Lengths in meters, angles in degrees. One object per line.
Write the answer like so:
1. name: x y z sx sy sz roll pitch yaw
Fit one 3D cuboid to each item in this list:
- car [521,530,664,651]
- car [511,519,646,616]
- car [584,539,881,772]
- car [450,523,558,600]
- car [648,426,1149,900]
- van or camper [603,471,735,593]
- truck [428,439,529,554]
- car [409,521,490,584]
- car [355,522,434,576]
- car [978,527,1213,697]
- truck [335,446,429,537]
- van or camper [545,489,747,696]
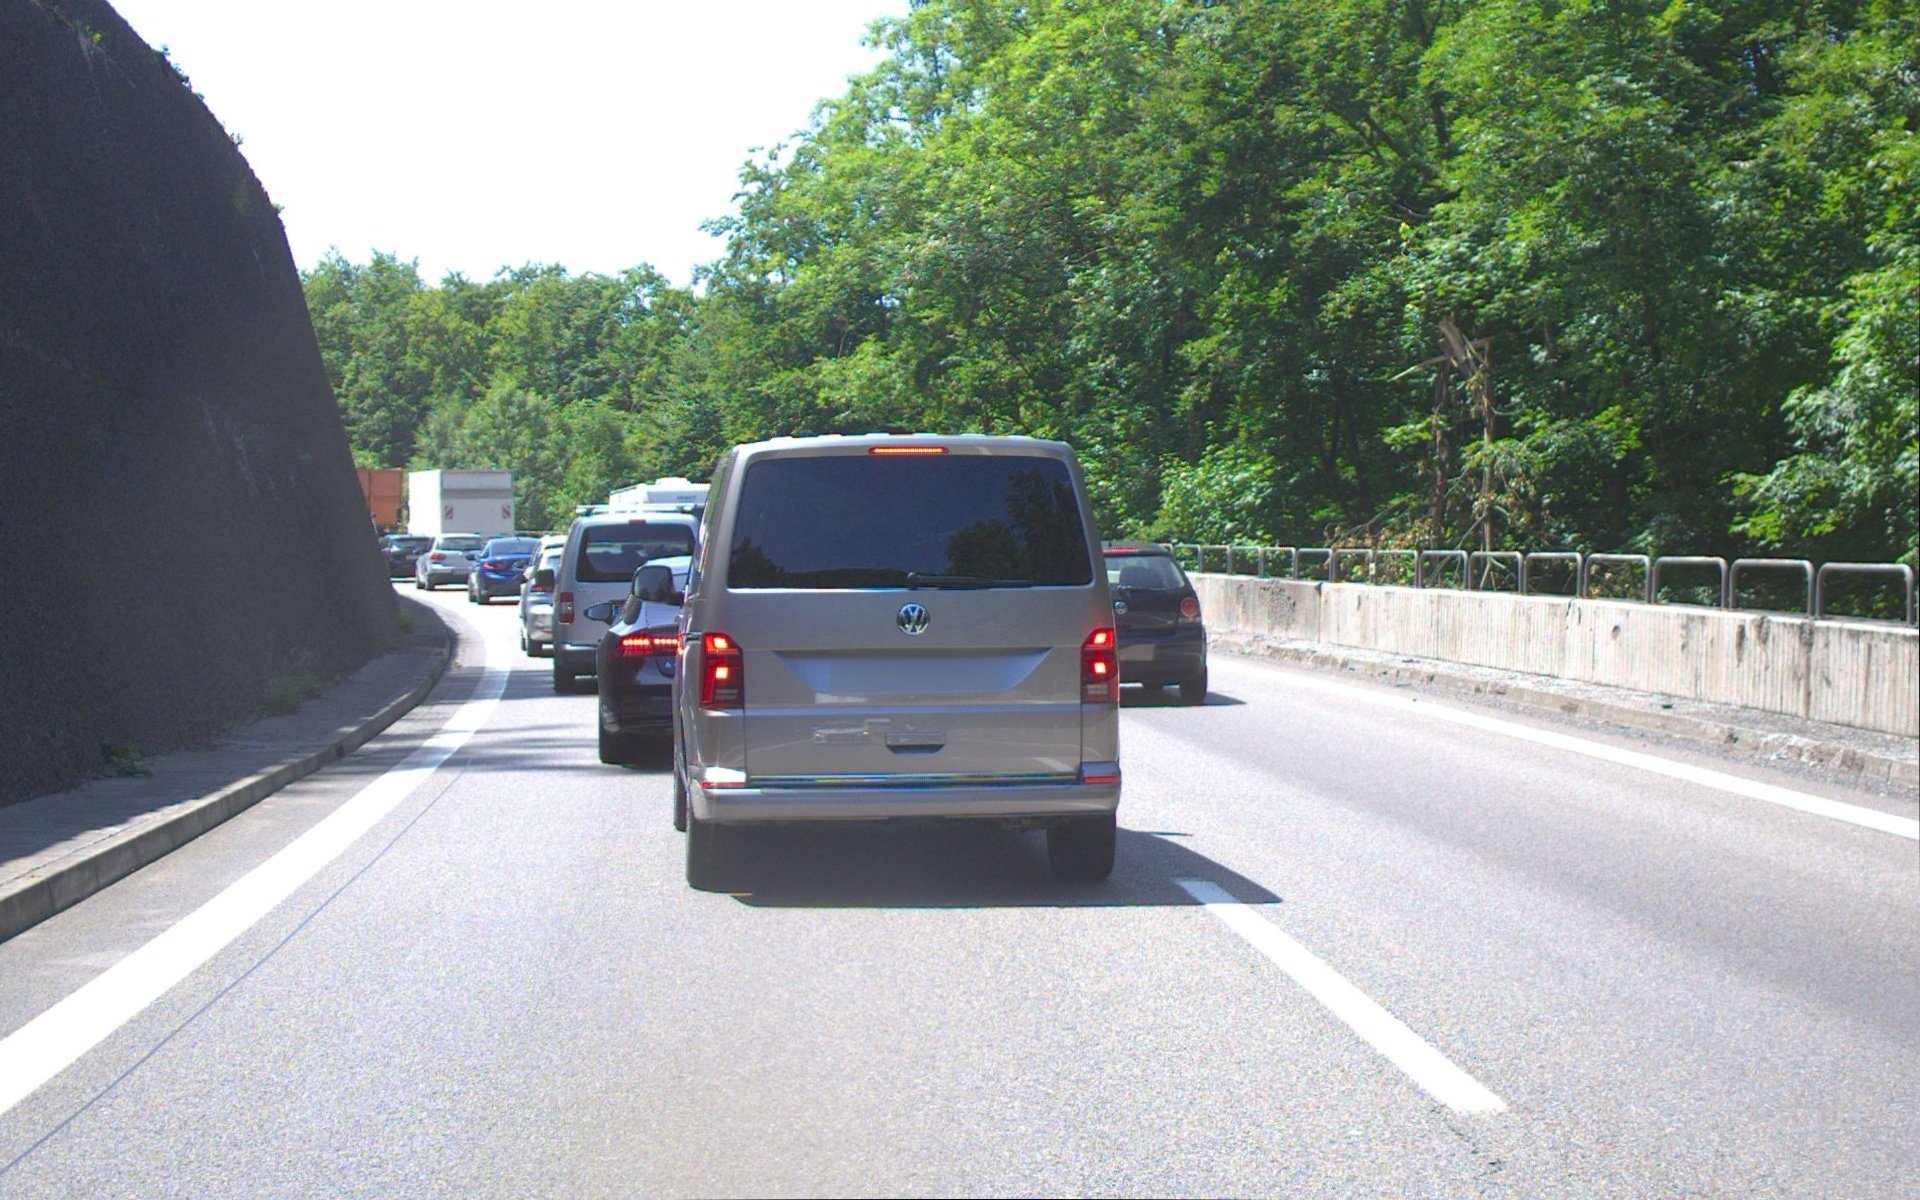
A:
1. car: -4.919 -0.163 46.444 1.771 1.467 4.001 2 1 -5
2. car: -6.717 -0.585 60.242 1.894 1.579 3.772 -2 1 -12
3. car: -1.577 0.327 24.596 1.904 1.484 4.380 1 1 -2
4. car: -10.017 -0.864 75.268 1.857 1.614 4.001 -1 1 -15
5. car: -0.456 0.210 16.411 1.940 1.924 4.695 0 1 -6
6. van or camper: -7.106 -1.678 83.303 2.603 2.845 6.337 0 2 -10
7. truck: -16.912 -3.622 120.386 2.924 3.674 7.727 4 1 -10
8. car: -13.313 -1.249 89.546 1.993 1.612 4.001 0 1 -10
9. car: -16.676 -1.509 101.221 1.750 1.565 3.772 0 1 -18
10. car: 1.185 0.065 31.748 1.684 1.453 4.001 1 1 -4
11. truck: -24.064 -4.496 142.889 3.162 3.456 8.224 4 1 -13
12. van or camper: -3.348 -0.120 36.052 1.853 1.935 4.166 4 1 -7
